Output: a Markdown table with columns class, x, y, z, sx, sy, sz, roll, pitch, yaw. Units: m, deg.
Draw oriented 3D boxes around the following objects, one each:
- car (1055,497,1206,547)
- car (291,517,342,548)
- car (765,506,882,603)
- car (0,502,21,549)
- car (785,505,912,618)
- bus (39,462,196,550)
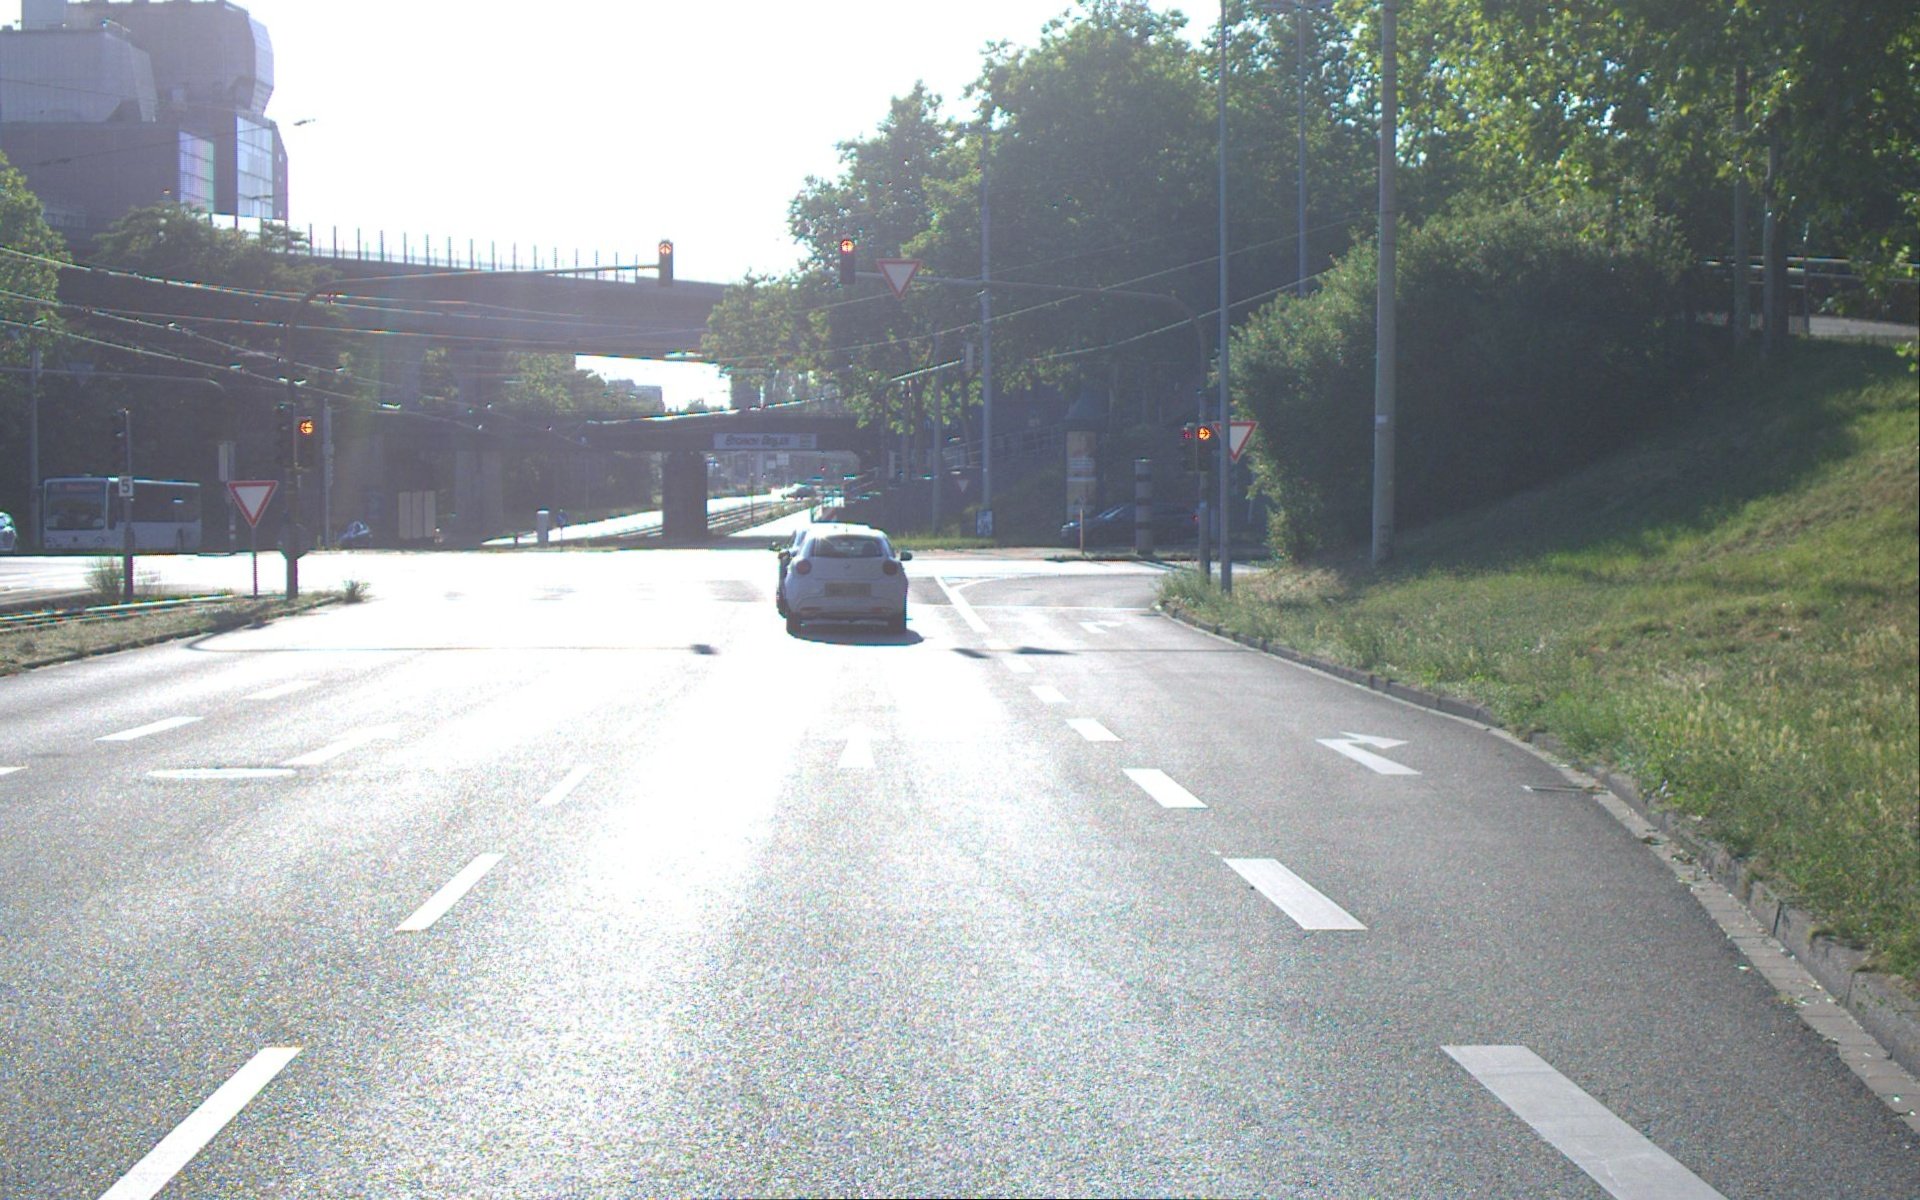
| class | x | y | z | sx | sy | sz | roll | pitch | yaw |
| --- | --- | --- | --- | --- | --- | --- | --- | --- | --- |
| car | 5.553 | -2.550 | 111.915 | 4.574 | 1.569 | 1.694 | 0 | 2 | -18 |
| car | -30.141 | -3.177 | 161.151 | 1.606 | 1.414 | 4.008 | 1 | 2 | 0 |
| car | -2.247 | -0.764 | 55.705 | 1.713 | 1.460 | 4.208 | 0 | 2 | -5 |
| car | -31.980 | -2.449 | 112.514 | 1.606 | 1.507 | 4.009 | 1 | 2 | -3 |
| car | -1.626 | -0.581 | 49.218 | 1.736 | 1.500 | 4.001 | 0 | 2 | -3 |
| bus | -31.910 | -3.503 | 130.824 | 2.543 | 3.119 | 12.918 | 0 | 1 | 1 |
